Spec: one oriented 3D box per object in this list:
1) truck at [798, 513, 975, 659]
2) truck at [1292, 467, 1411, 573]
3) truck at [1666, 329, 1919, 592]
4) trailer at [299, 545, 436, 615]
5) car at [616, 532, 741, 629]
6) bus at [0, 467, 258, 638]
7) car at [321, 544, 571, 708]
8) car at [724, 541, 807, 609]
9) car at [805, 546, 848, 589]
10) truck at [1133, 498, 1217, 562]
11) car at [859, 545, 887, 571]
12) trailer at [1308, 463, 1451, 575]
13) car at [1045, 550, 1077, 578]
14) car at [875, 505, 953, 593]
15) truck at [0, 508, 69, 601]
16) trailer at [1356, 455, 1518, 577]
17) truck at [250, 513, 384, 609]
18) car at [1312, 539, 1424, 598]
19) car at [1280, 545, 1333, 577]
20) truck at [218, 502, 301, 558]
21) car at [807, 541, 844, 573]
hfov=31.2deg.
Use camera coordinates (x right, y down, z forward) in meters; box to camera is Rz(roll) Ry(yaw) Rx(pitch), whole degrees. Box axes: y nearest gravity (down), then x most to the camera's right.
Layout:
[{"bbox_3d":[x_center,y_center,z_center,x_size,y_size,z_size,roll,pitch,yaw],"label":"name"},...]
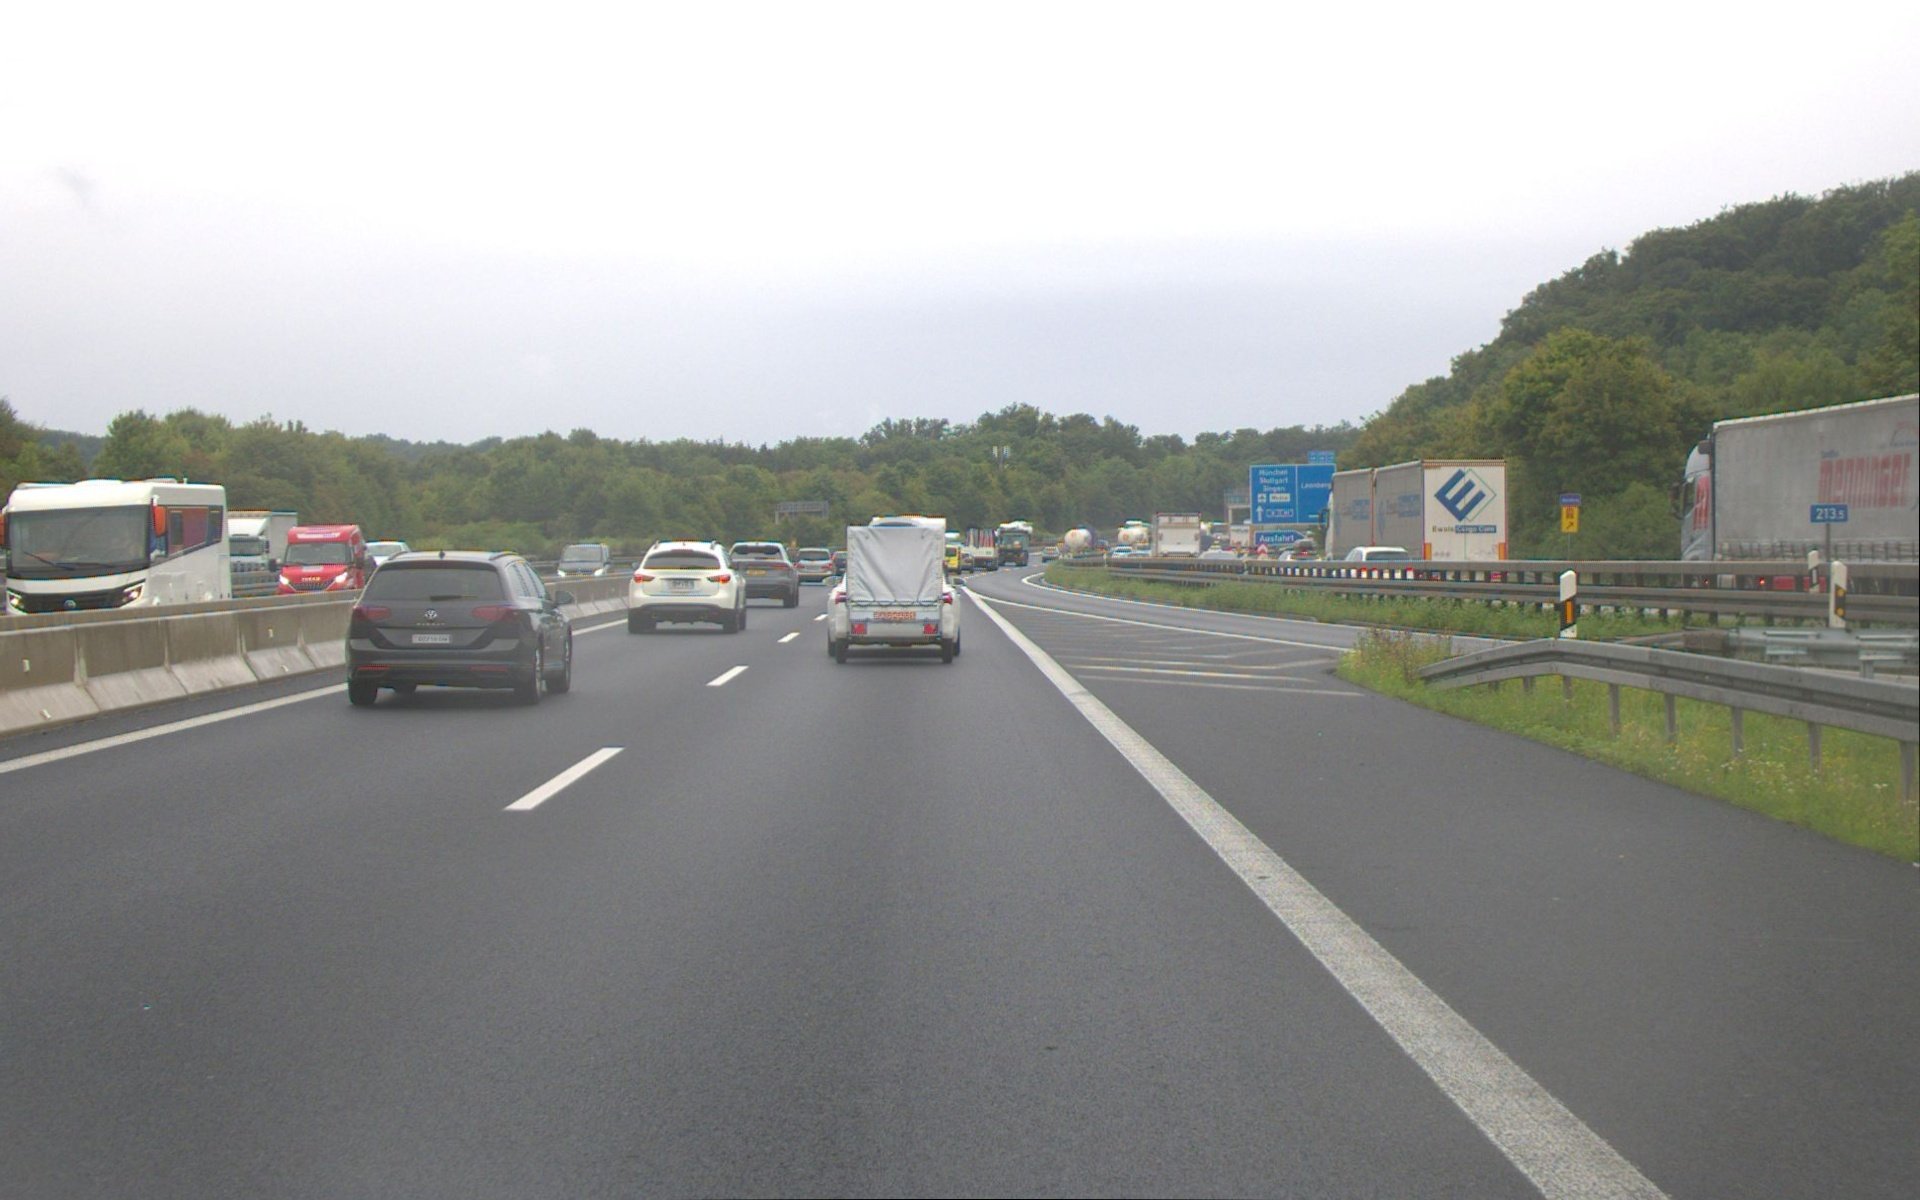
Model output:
[{"bbox_3d":[-0.956,-0.211,47.279,2.242,1.833,6.585,1,1,0],"label":"truck"},{"bbox_3d":[13.417,-2.731,118.330,2.937,3.515,5.928,1,1,-4],"label":"truck"},{"bbox_3d":[17.854,-2.478,66.047,3.820,4.525,16.888,0,1,-5],"label":"truck"},{"bbox_3d":[-18.012,-0.668,105.079,2.536,2.007,10.246,-1,1,-1],"label":"trailer"},{"bbox_3d":[-5.137,-0.381,62.256,2.048,1.665,4.542,0,1,-7],"label":"car"},{"bbox_3d":[-13.656,-0.780,56.565,2.541,2.577,8.271,1,1,0],"label":"bus"},{"bbox_3d":[-4.913,0.196,33.439,1.787,1.454,4.803,1,1,-1],"label":"car"},{"bbox_3d":[-5.117,-0.680,90.806,1.975,1.697,4.803,1,1,-1],"label":"car"},{"bbox_3d":[-5.707,-1.406,147.270,1.738,1.787,4.000,1,1,-1],"label":"car"},{"bbox_3d":[12.783,-4.147,205.097,3.824,3.646,8.273,1,1,-4],"label":"truck"},{"bbox_3d":[-5.511,-2.662,217.206,1.645,1.568,4.000,1,1,0],"label":"car"},{"bbox_3d":[13.789,-2.653,113.703,2.937,3.515,8.421,1,1,-5],"label":"trailer"},{"bbox_3d":[5.700,-2.041,195.087,1.645,1.568,4.000,1,1,0],"label":"car"},{"bbox_3d":[-1.491,-1.614,109.032,2.331,2.716,6.540,0,1,-2],"label":"car"},{"bbox_3d":[-33.466,-1.600,119.854,2.513,3.134,8.849,-1,1,0],"label":"truck"},{"bbox_3d":[14.532,-2.532,105.405,3.077,3.515,8.086,1,1,-5],"label":"trailer"},{"bbox_3d":[-17.953,-1.090,96.354,2.426,2.585,7.093,0,1,0],"label":"truck"},{"bbox_3d":[11.479,-0.891,97.034,1.993,1.611,5.080,0,1,-7],"label":"car"},{"bbox_3d":[14.160,-1.591,140.594,1.697,1.284,3.535,1,1,-2],"label":"car"},{"bbox_3d":[-36.898,-3.694,181.398,2.739,2.863,8.542,-1,1,-1],"label":"truck"},{"bbox_3d":[-7.097,-2.278,181.404,1.819,1.656,4.017,0,1,0],"label":"car"}]
